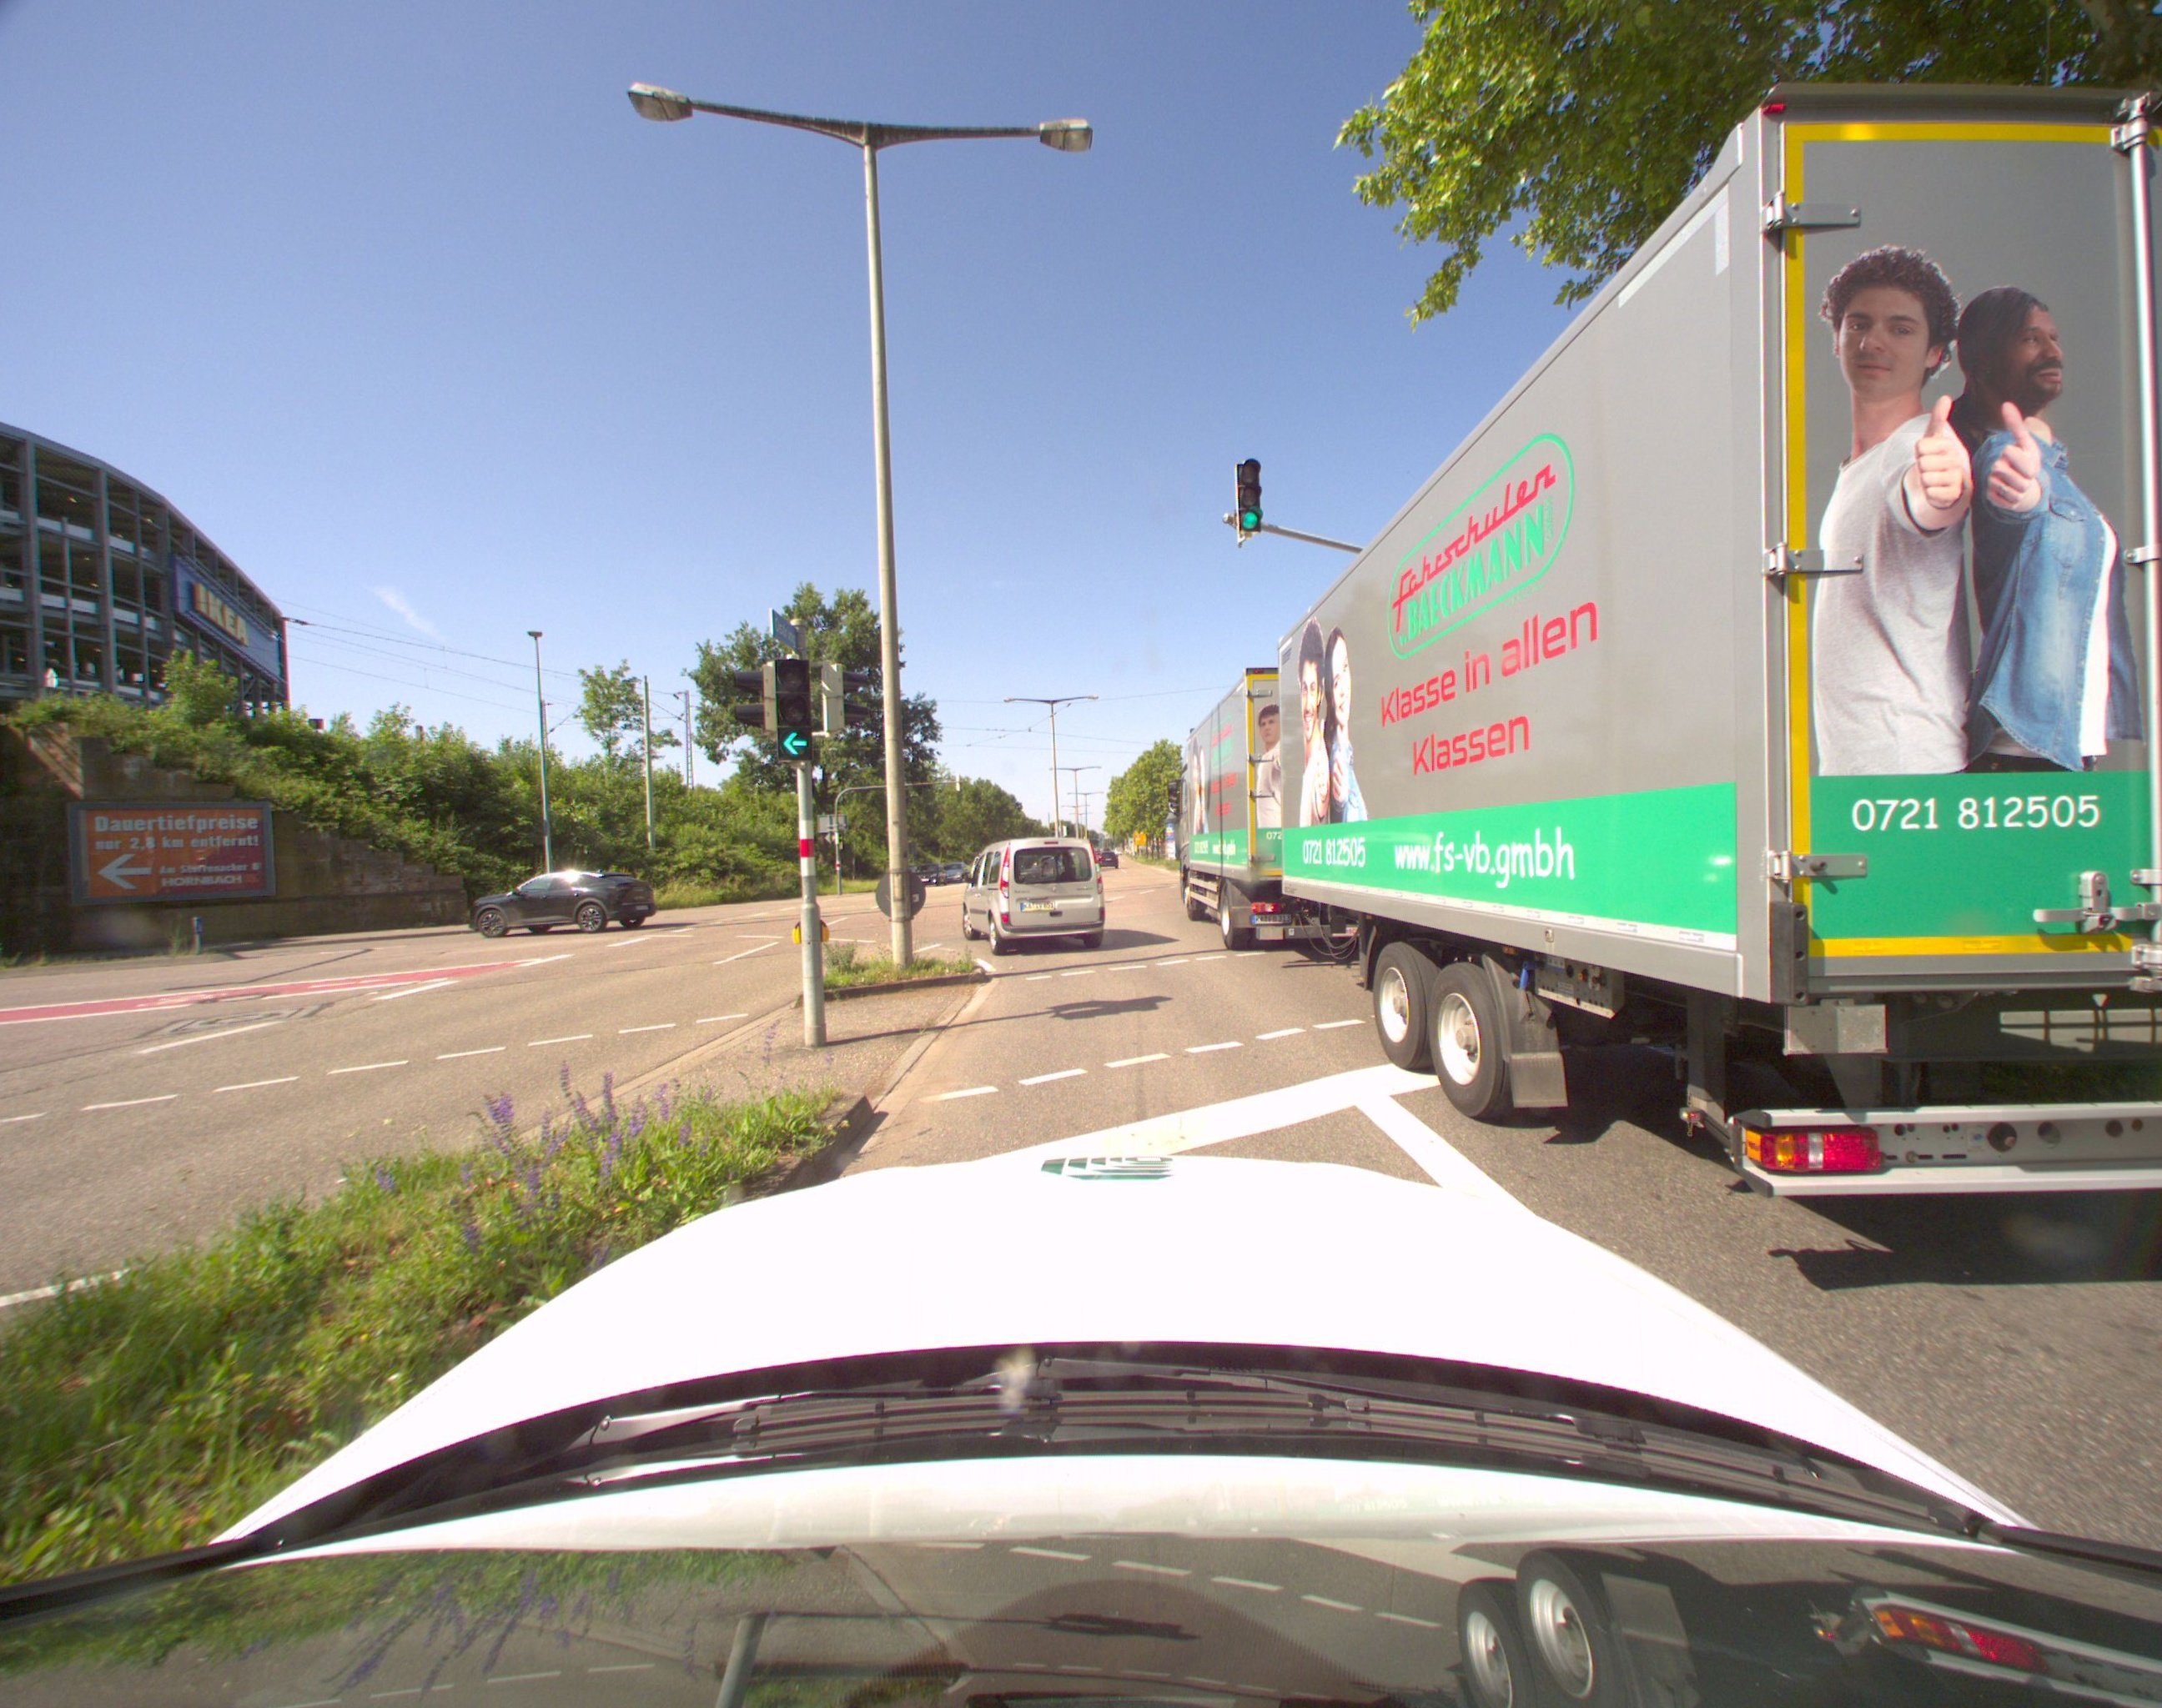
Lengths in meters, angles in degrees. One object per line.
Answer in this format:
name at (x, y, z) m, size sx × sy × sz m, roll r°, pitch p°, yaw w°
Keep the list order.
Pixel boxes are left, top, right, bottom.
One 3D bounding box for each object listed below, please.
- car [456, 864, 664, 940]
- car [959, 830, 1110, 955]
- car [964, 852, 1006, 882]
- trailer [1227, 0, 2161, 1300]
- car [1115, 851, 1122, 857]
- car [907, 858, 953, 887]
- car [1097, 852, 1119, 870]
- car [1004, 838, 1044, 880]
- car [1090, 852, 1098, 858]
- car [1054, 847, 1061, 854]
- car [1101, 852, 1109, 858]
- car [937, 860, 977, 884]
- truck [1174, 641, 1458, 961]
car at (-13.836, 1.237, 21.844) m, size 4.203 × 1.662 × 1.936 m, roll -3°, pitch 0°, yaw -2°
car at (-0.960, 0.570, 14.118) m, size 1.790 × 1.838 × 3.978 m, roll 0°, pitch 0°, yaw -16°
car at (-6.504, 0.864, 55.742) m, size 1.986 × 1.870 × 4.776 m, roll -3°, pitch 0°, yaw 2°
trailer at (3.144, -0.693, 6.205) m, size 2.726 × 3.877 × 7.737 m, roll -2°, pitch 0°, yaw 1°
car at (10.488, -0.048, 227.690) m, size 1.985 × 1.585 × 4.459 m, roll -1°, pitch 0°, yaw 3°
car at (-9.417, 1.116, 51.061) m, size 1.904 × 1.641 × 3.739 m, roll -3°, pitch 0°, yaw 2°
car at (2.565, 0.678, 76.314) m, size 1.985 × 1.585 × 4.459 m, roll -1°, pitch 0°, yaw 3°
car at (-3.818, 0.334, 55.421) m, size 1.986 × 2.607 × 5.136 m, roll -3°, pitch -1°, yaw 2°
car at (3.438, 0.163, 219.596) m, size 1.985 × 1.585 × 4.459 m, roll -1°, pitch 0°, yaw 3°
car at (-6.844, -1.144, 240.241) m, size 1.881 × 2.014 × 4.002 m, roll -1°, pitch 0°, yaw 2°
car at (6.478, 0.279, 219.762) m, size 1.985 × 1.585 × 4.459 m, roll -1°, pitch 0°, yaw 3°
car at (-8.792, 1.228, 58.073) m, size 1.986 × 1.540 × 4.238 m, roll -3°, pitch 0°, yaw 2°
truck at (3.410, -0.632, 14.491) m, size 2.719 × 3.889 × 8.726 m, roll -2°, pitch 0°, yaw 2°
